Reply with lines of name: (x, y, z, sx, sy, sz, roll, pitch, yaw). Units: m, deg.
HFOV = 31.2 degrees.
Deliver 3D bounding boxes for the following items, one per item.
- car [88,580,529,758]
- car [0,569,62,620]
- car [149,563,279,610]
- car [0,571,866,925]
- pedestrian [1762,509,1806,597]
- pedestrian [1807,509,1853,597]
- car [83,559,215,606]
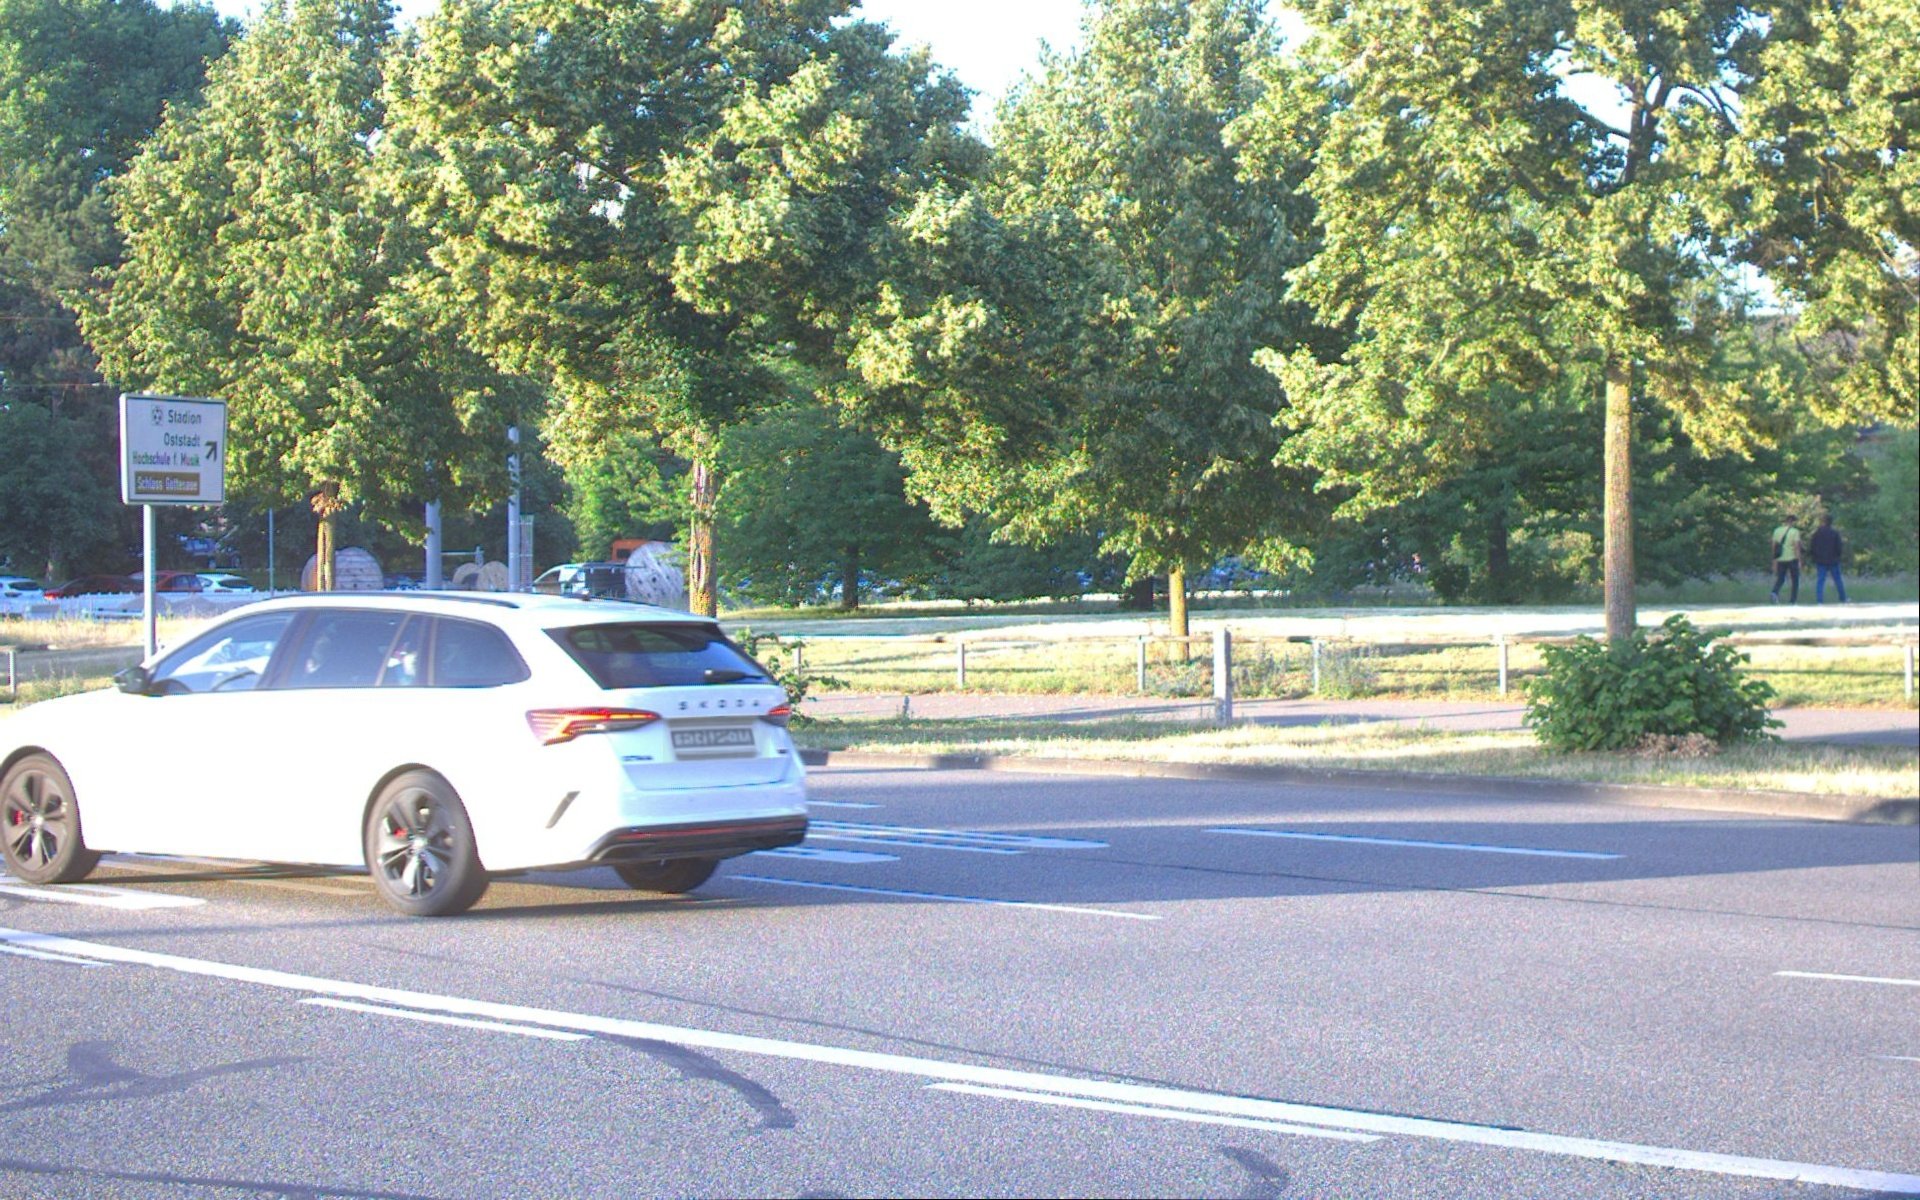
car: (-5.563, 0.554, 29.313, 3.480, 1.438, 1.552, 0, 0, 28)
car: (-30.336, -0.185, 107.742, 3.994, 1.545, 1.997, 0, 1, 31)
car: (-25.177, -0.460, 116.025, 3.994, 1.545, 1.997, 0, 1, 31)
car: (-2.780, 0.606, 16.472, 4.544, 1.444, 1.724, 0, 2, 36)
pedestrian: (15.239, -0.864, 63.545, 0.579, 1.621, 0.533, -1, 1, -31)
pedestrian: (16.024, -0.870, 63.325, 0.618, 1.621, 0.530, -1, 1, -30)
car: (-26.909, -0.587, 114.087, 3.994, 1.545, 1.997, 0, 1, 31)
